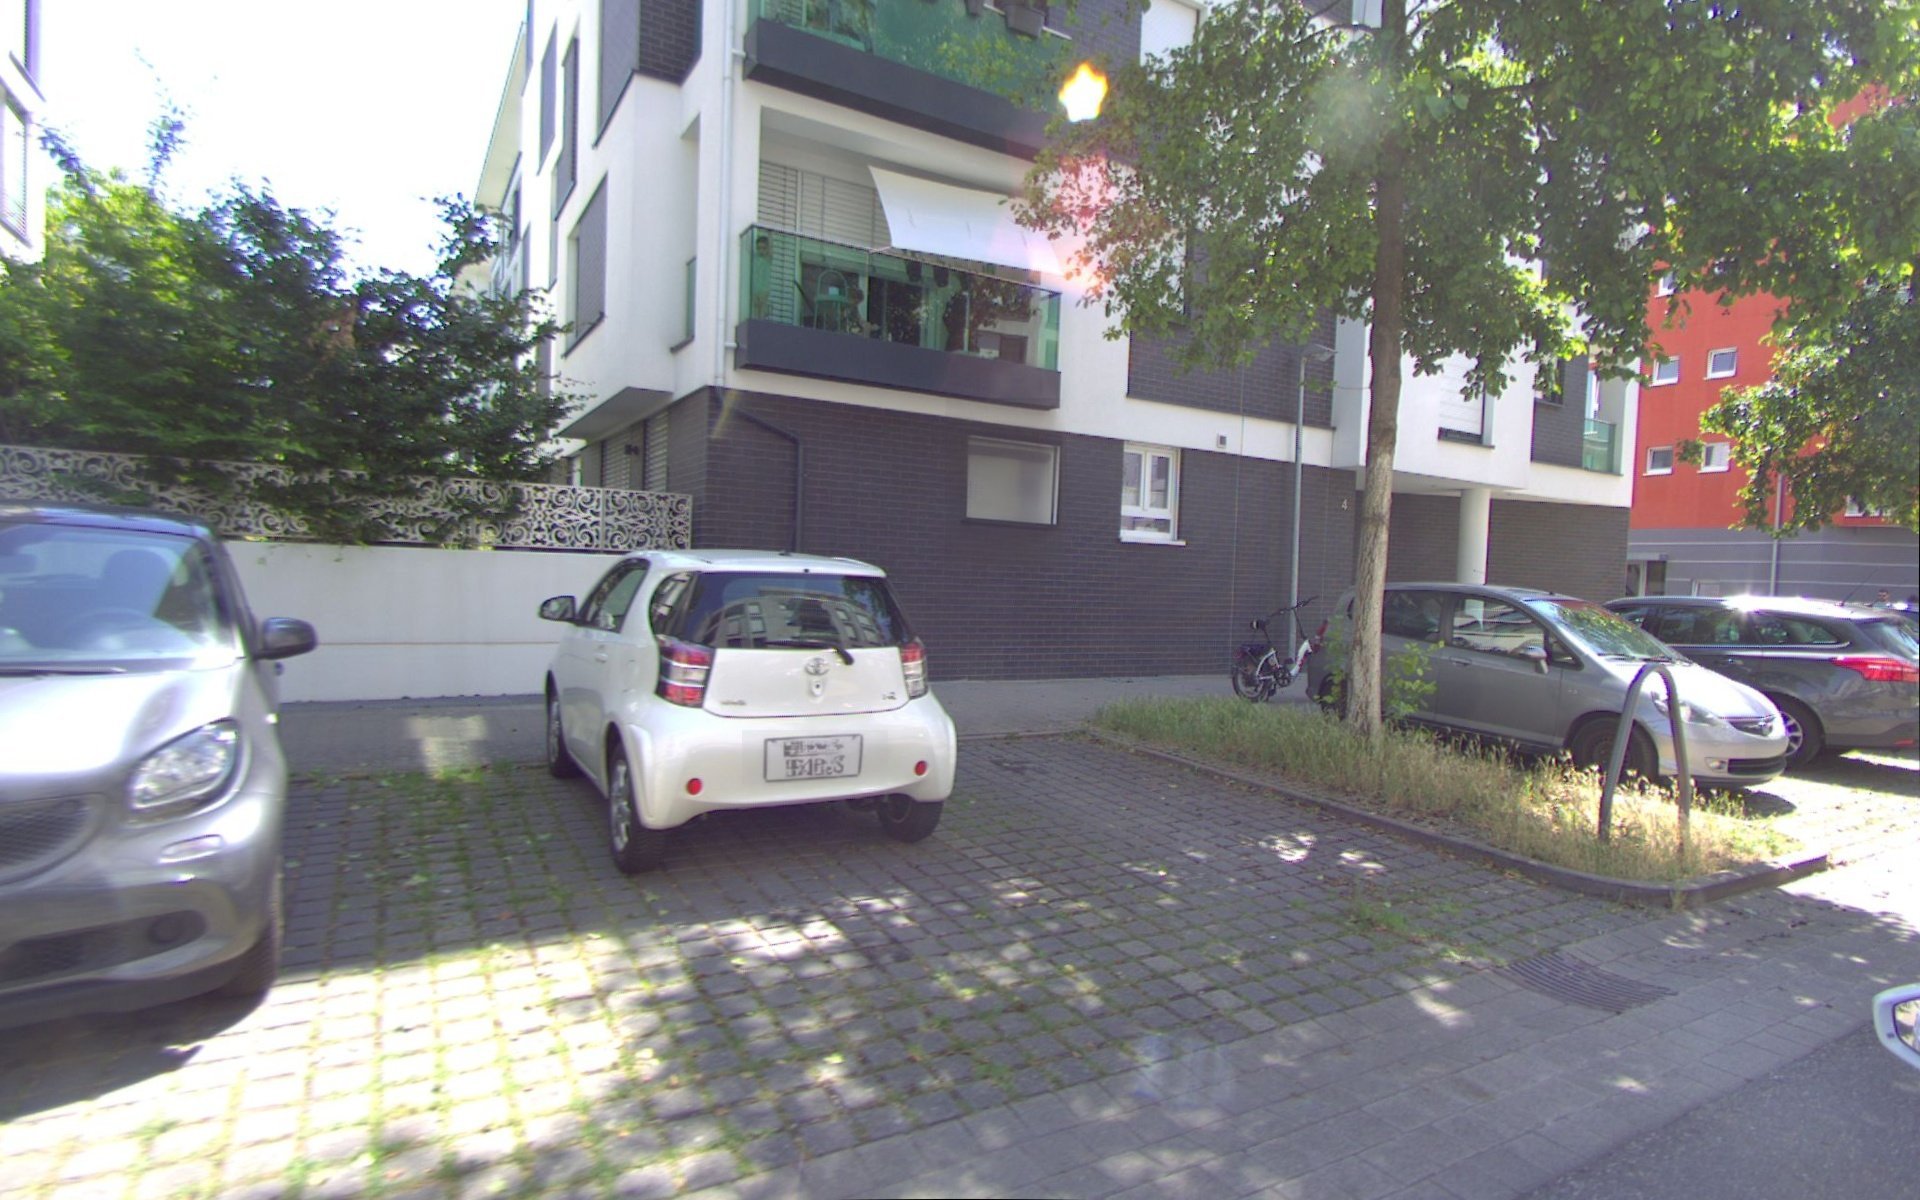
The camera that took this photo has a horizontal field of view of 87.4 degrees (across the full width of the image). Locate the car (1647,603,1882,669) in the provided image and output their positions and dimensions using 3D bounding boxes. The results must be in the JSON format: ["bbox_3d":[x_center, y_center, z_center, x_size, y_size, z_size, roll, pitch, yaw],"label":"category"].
[{"bbox_3d":[21.416,0.882,26.953,1.916,1.402,4.546,-1,3,-32],"label":"car"}]

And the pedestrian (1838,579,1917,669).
[{"bbox_3d":[21.685,0.554,23.748,1.115,2.041,1.005,1,1,-27],"label":"pedestrian"}]

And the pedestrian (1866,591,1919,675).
[{"bbox_3d":[20.078,0.692,21.307,0.822,1.713,0.995,1,2,-30],"label":"pedestrian"}]

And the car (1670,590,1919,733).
[{"bbox_3d":[11.666,0.759,12.958,1.810,1.541,3.612,1,3,-30],"label":"car"}]

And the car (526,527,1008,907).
[{"bbox_3d":[-1.319,0.416,5.864,1.827,1.520,2.916,1,4,-31],"label":"car"}]

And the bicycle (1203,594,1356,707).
[{"bbox_3d":[3.649,0.559,11.445,1.752,1.206,0.564,1,2,-28],"label":"bicycle"}]

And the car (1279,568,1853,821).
[{"bbox_3d":[5.055,0.605,8.967,1.850,1.574,3.917,1,3,-30],"label":"car"}]

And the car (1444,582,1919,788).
[{"bbox_3d":[7.551,0.699,10.363,1.939,1.506,4.155,3,2,-33],"label":"car"}]

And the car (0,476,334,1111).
[{"bbox_3d":[-3.614,0.362,3.895,1.803,1.607,3.682,1,3,-35],"label":"car"}]

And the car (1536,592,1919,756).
[{"bbox_3d":[9.503,0.746,12.219,1.778,1.576,3.970,1,1,-28],"label":"car"}]
